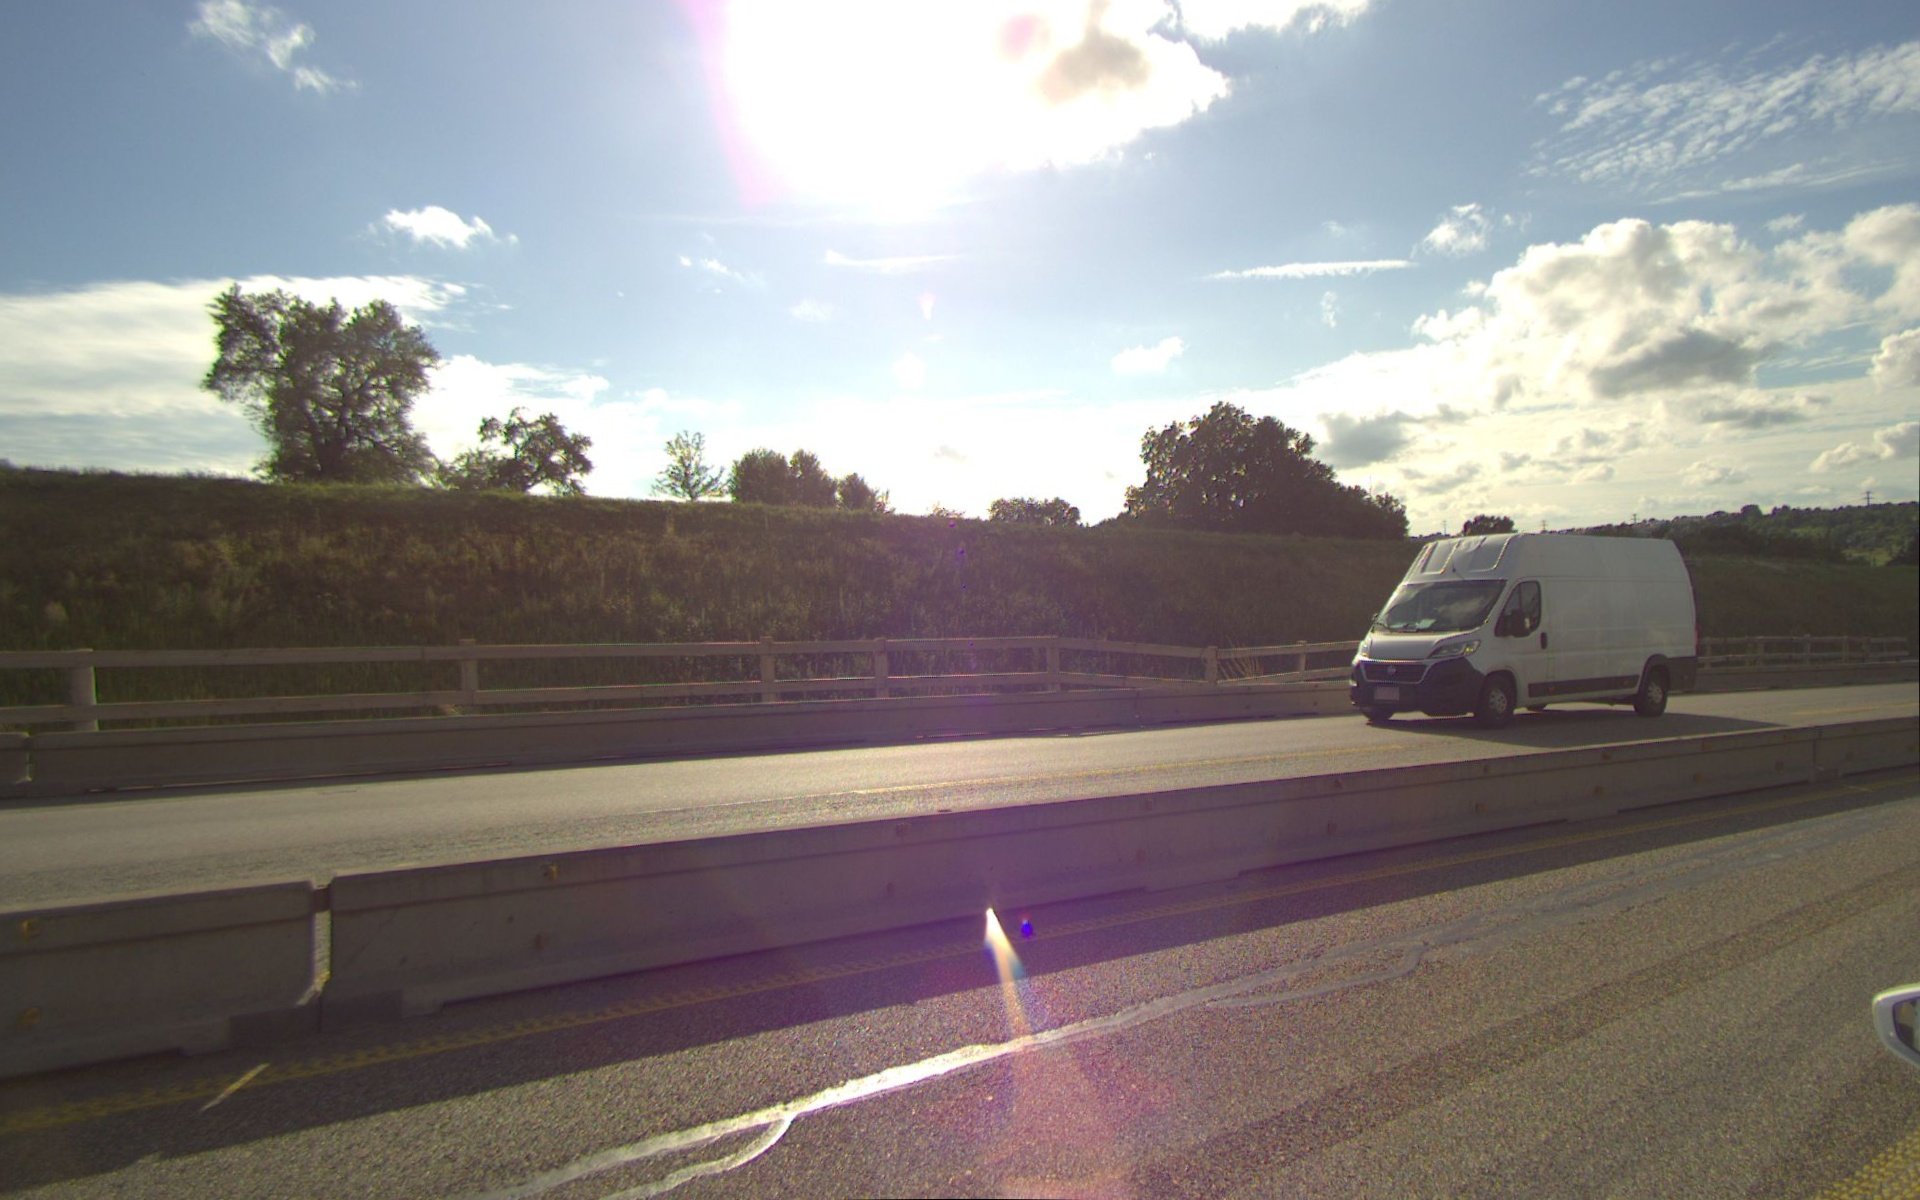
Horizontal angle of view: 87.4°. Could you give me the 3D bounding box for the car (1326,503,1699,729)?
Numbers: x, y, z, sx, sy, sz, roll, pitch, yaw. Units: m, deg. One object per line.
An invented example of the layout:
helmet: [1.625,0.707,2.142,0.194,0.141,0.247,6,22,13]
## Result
car: [8.497,0.319,15.259,6.067,2.872,2.100,1,-3,-30]
